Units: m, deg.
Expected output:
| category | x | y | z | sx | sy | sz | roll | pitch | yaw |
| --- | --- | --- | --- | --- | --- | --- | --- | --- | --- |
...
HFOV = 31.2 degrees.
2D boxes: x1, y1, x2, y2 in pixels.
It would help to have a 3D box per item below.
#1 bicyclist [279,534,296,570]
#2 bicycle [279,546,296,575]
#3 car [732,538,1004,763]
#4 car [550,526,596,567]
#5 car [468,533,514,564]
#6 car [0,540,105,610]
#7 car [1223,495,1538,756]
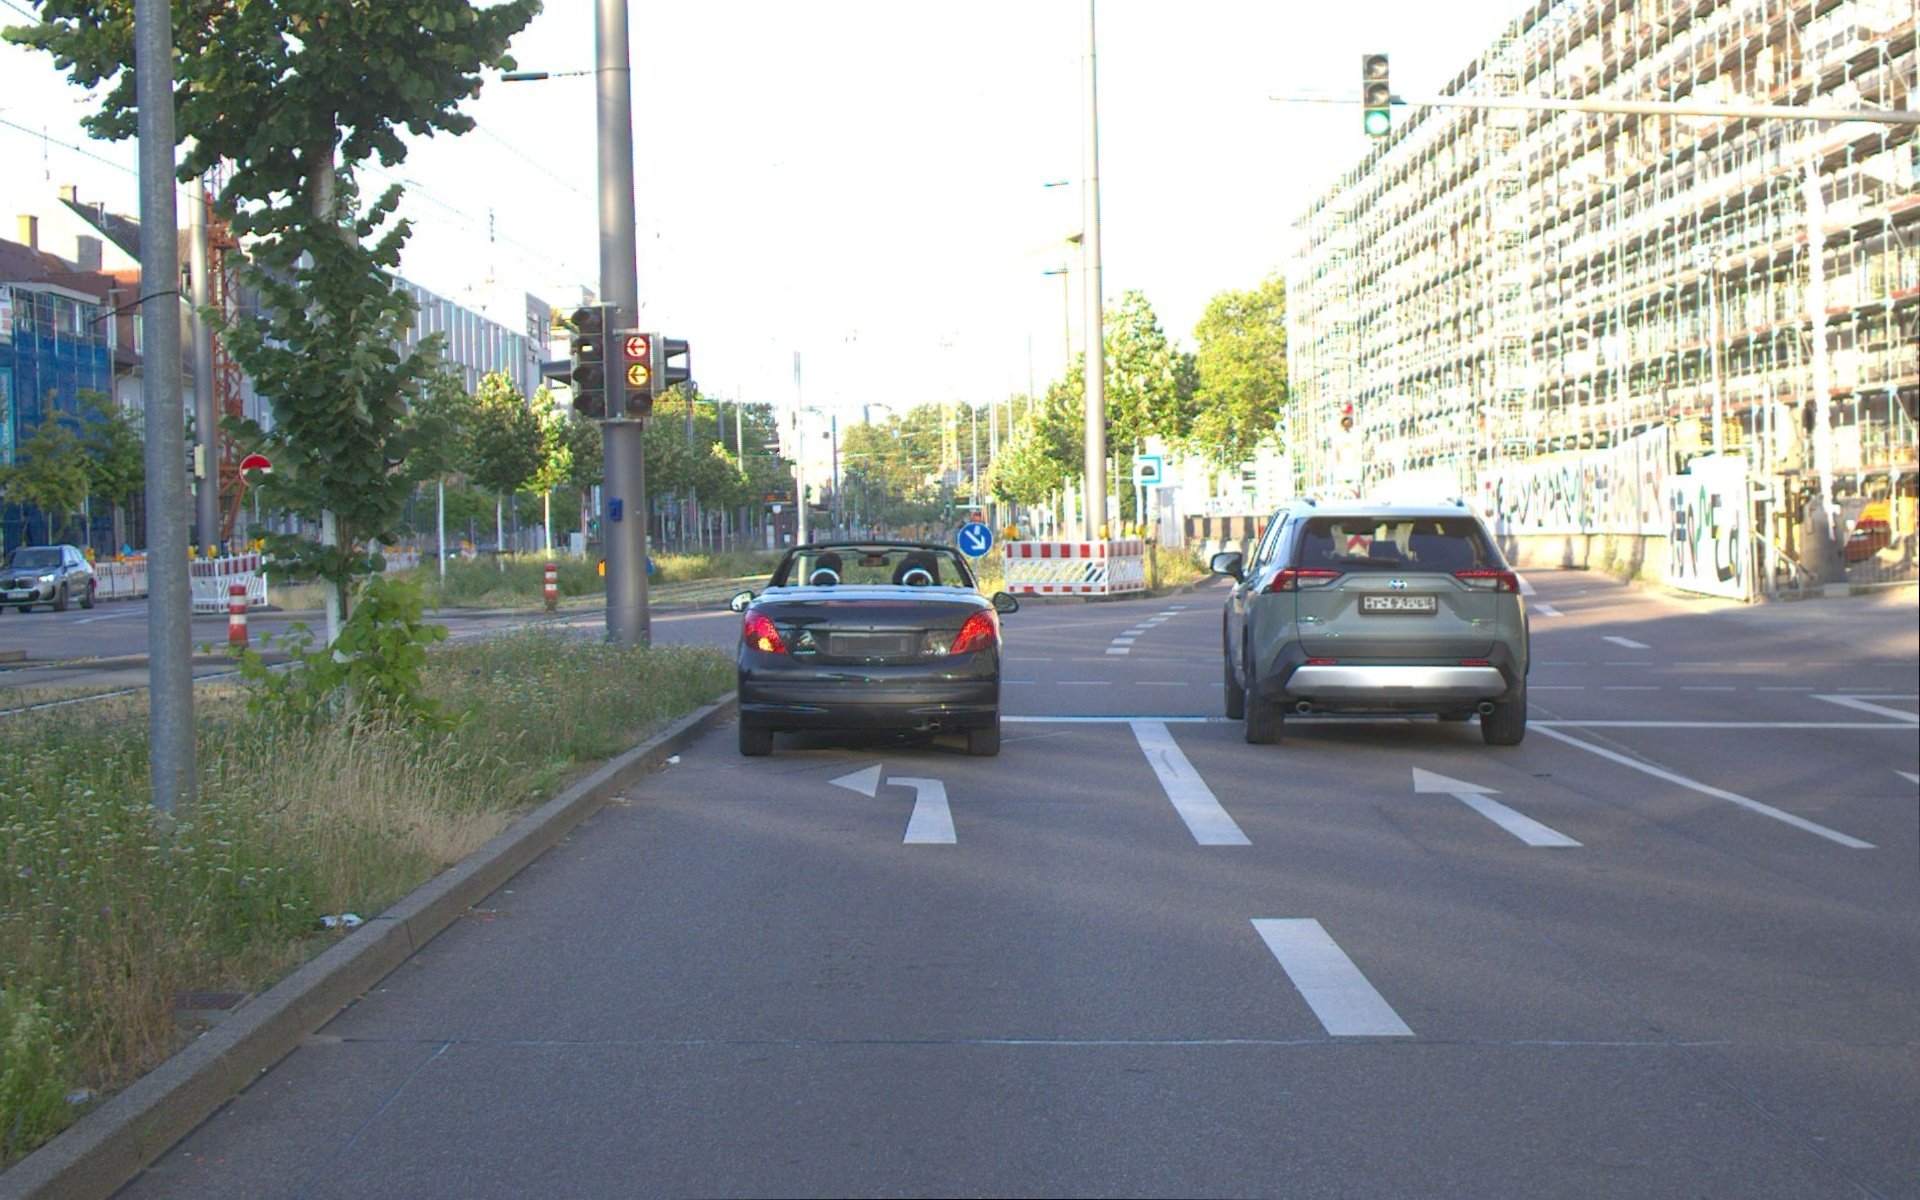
| category | x | y | z | sx | sy | sz | roll | pitch | yaw |
| --- | --- | --- | --- | --- | --- | --- | --- | --- | --- |
| bicyclist | -23.604 | -1.683 | 120.705 | 0.589 | 1.262 | 0.460 | 0 | 1 | -11 |
| bicycle | -23.610 | -1.374 | 120.712 | 0.589 | 0.985 | 1.556 | 0 | 2 | -11 |
| car | -0.582 | 0.274 | 23.170 | 1.674 | 1.347 | 4.000 | 0 | 2 | 0 |
| car | -19.149 | -2.655 | 170.130 | 1.658 | 1.957 | 4.266 | 1 | 2 | 1 |
| car | -23.262 | -2.568 | 170.555 | 1.658 | 1.426 | 3.895 | 1 | 2 | 1 |
| car | -22.529 | -0.620 | 84.254 | 1.993 | 1.574 | 4.124 | -3 | 2 | 1 |
| car | 2.860 | 0.103 | 24.184 | 1.834 | 1.666 | 4.282 | 0 | 2 | 2 |
